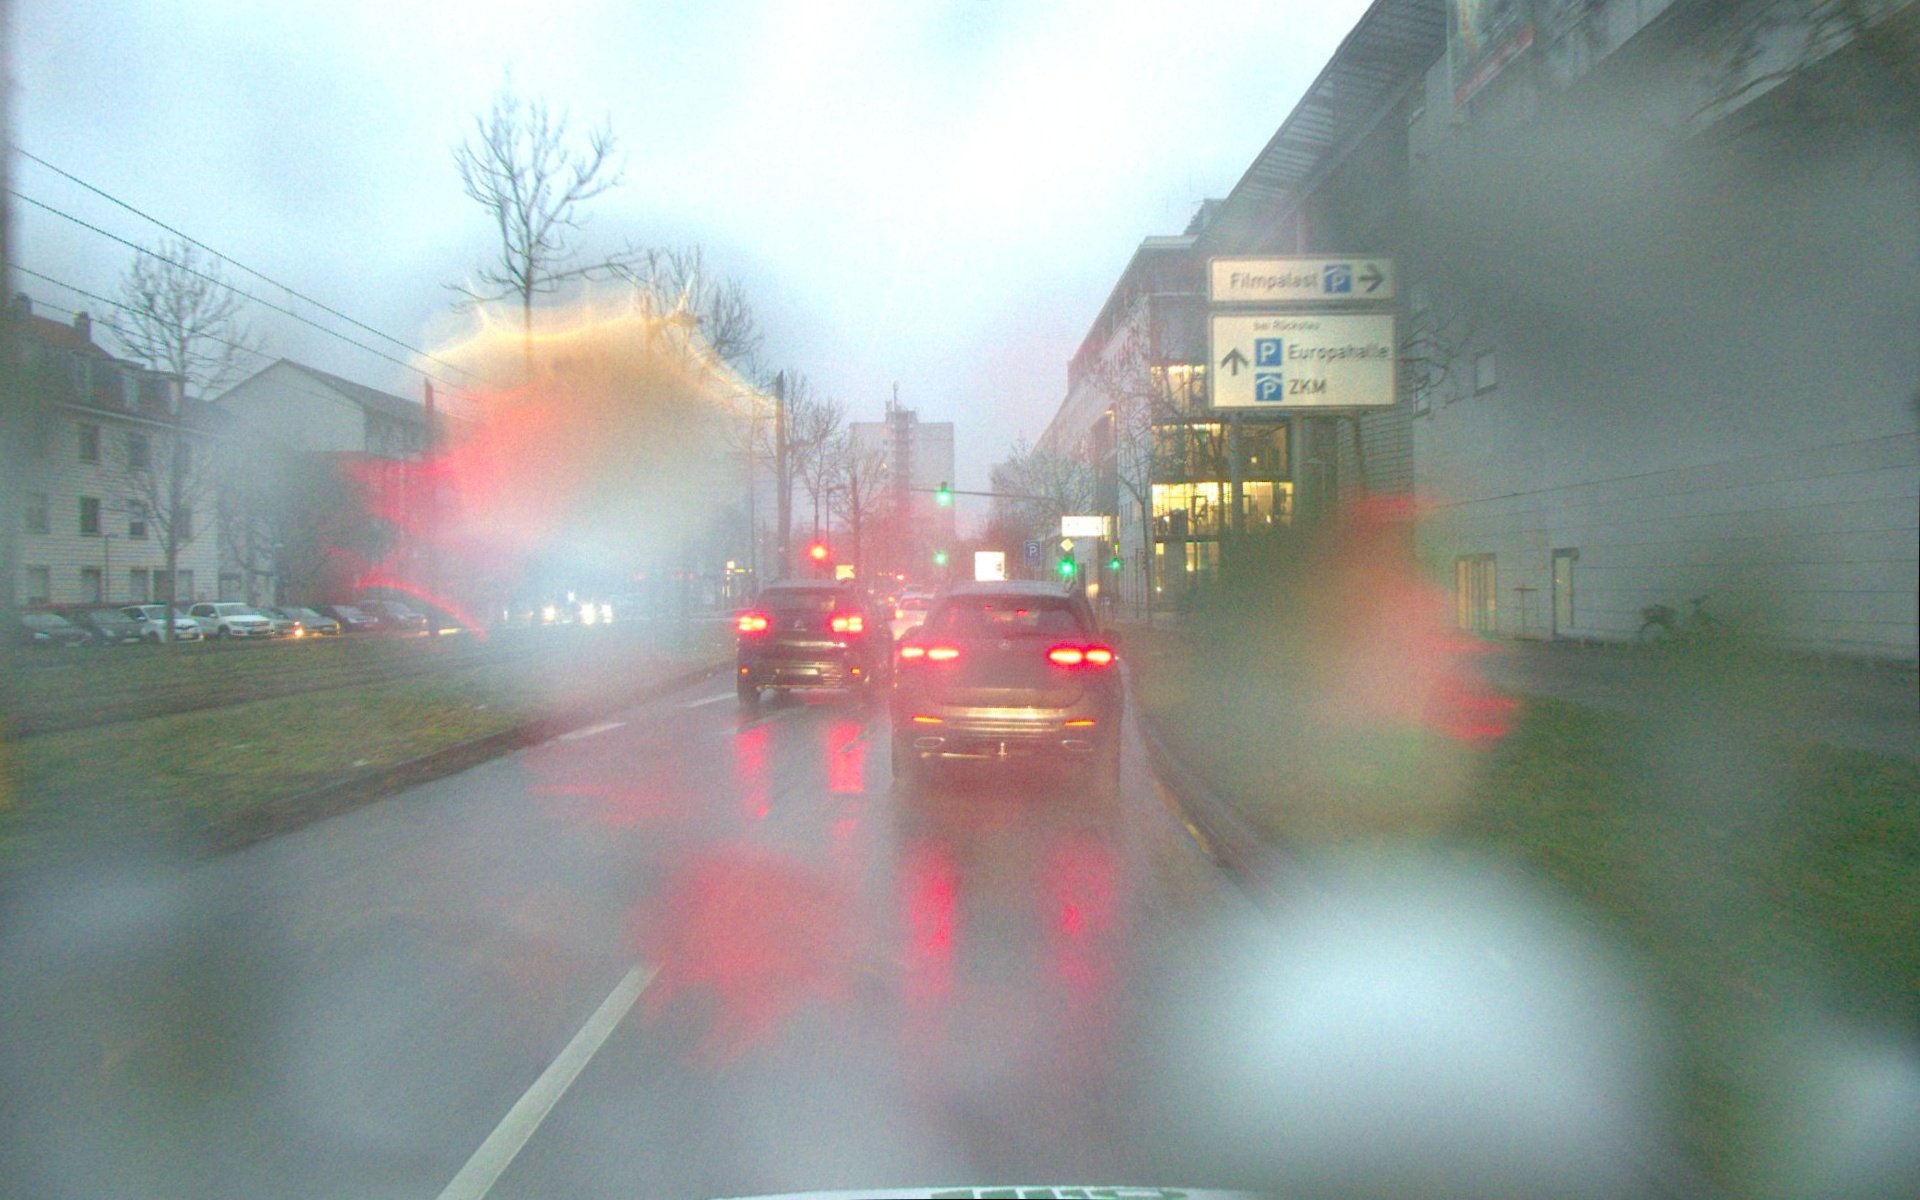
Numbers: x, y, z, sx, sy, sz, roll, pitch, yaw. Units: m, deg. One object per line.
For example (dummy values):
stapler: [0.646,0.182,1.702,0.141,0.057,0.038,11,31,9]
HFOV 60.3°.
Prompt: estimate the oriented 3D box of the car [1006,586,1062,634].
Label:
car: [2.514,0.324,56.595,1.828,1.570,3.611,1,0,2]

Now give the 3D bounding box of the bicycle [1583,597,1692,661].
bicycle: [12.013,0.504,29.355,1.772,1.070,0.396,-2,0,-3]

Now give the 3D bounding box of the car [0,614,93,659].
car: [-28.321,1.089,50.478,3.464,1.233,1.744,1,0,31]

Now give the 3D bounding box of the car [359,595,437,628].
car: [-28.160,0.555,82.850,3.717,1.583,1.738,1,0,32]

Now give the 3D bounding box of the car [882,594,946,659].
car: [-1.230,0.689,45.148,1.655,1.664,3.473,1,0,-1]

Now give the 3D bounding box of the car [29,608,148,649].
car: [-28.119,0.906,53.356,3.464,1.221,1.878,1,0,31]

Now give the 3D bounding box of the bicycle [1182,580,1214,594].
bicycle: [13.574,-0.732,94.312,1.697,0.758,0.650,1,0,33]

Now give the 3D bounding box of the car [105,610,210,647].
car: [-27.620,0.956,56.912,3.345,1.167,1.688,1,0,31]

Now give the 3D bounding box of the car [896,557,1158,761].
car: [0.477,0.442,14.316,1.953,1.509,3.699,1,0,-1]

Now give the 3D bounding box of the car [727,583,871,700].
car: [-2.170,0.522,23.183,1.781,1.476,3.998,1,0,-3]

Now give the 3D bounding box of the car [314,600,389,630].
car: [-28.350,0.699,77.049,3.691,1.360,1.448,0,1,35]

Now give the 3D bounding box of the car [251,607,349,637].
car: [-27.877,0.905,69.799,4.098,1.135,1.678,1,0,30]

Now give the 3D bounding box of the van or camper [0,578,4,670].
van or camper: [-28.469,0.576,44.452,6.737,2.401,1.994,1,0,33]

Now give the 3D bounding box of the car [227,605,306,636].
car: [-28.003,0.823,66.777,2.978,1.167,1.394,1,0,30]

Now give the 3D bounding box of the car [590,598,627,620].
car: [-26.150,0.637,123.203,1.842,1.529,4.788,1,0,-2]

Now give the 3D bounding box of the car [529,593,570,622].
car: [-24.352,0.442,98.128,1.581,1.651,3.508,1,0,-1]

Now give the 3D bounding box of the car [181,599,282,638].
car: [-28.053,0.697,63.635,4.042,1.402,1.766,1,0,36]
